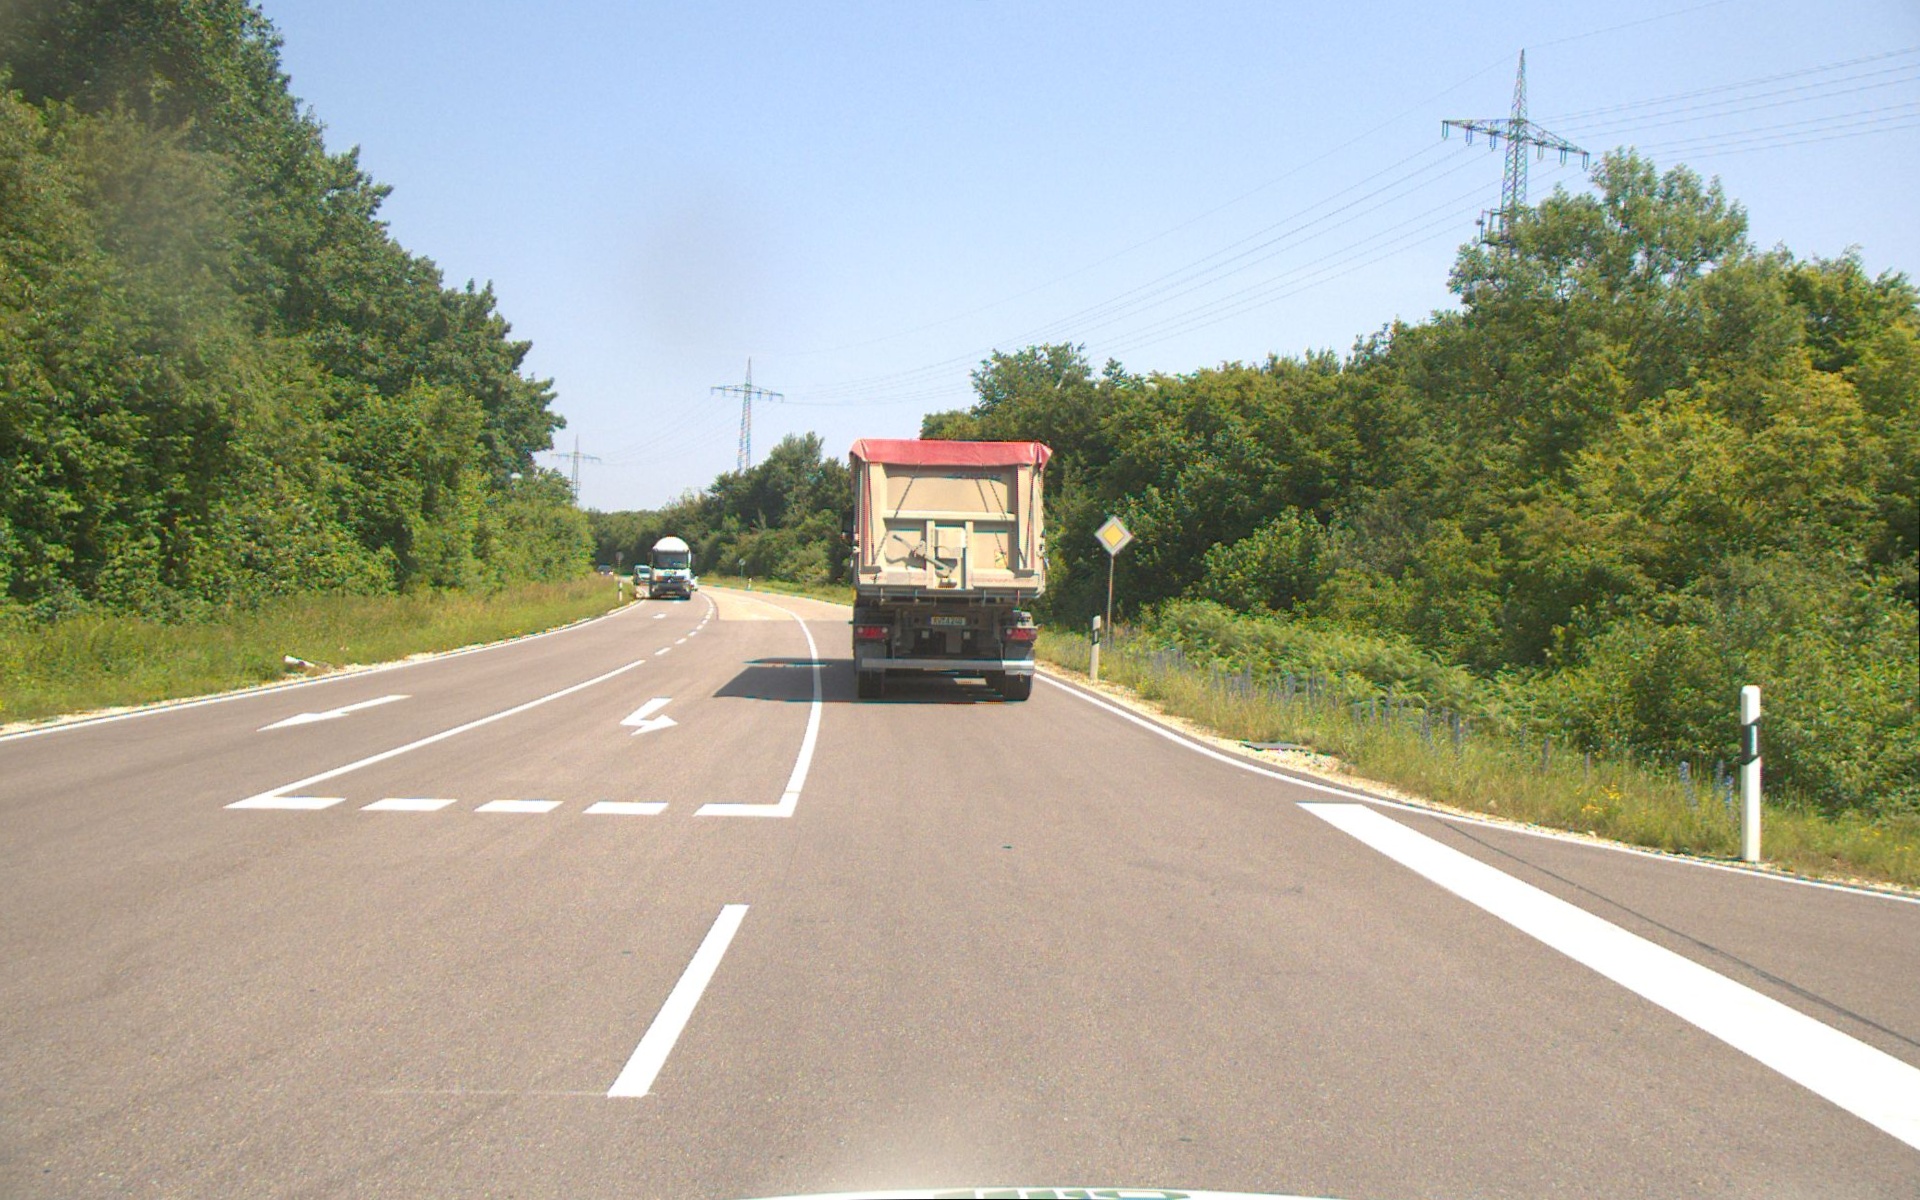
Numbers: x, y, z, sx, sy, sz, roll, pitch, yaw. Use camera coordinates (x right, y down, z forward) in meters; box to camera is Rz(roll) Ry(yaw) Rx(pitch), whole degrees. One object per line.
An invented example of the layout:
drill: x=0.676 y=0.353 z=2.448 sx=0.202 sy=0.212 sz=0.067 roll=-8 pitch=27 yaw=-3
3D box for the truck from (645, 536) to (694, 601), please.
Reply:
truck: x=-17.555 y=-1.886 z=100.378 sx=2.578 sy=3.735 sz=8.781 roll=1 pitch=0 yaw=-8

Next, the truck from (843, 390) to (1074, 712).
truck: x=-0.436 y=-0.675 z=26.898 sx=2.836 sy=4.031 sz=11.922 roll=1 pitch=1 yaw=-4

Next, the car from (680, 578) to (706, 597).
car: x=-21.517 y=-1.018 z=133.415 sx=1.674 sy=1.444 sz=4.095 roll=1 pitch=0 yaw=-4

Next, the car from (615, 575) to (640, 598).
car: x=-27.522 y=-1.117 z=136.938 sx=1.809 sy=1.810 sz=4.882 roll=1 pitch=0 yaw=-9
